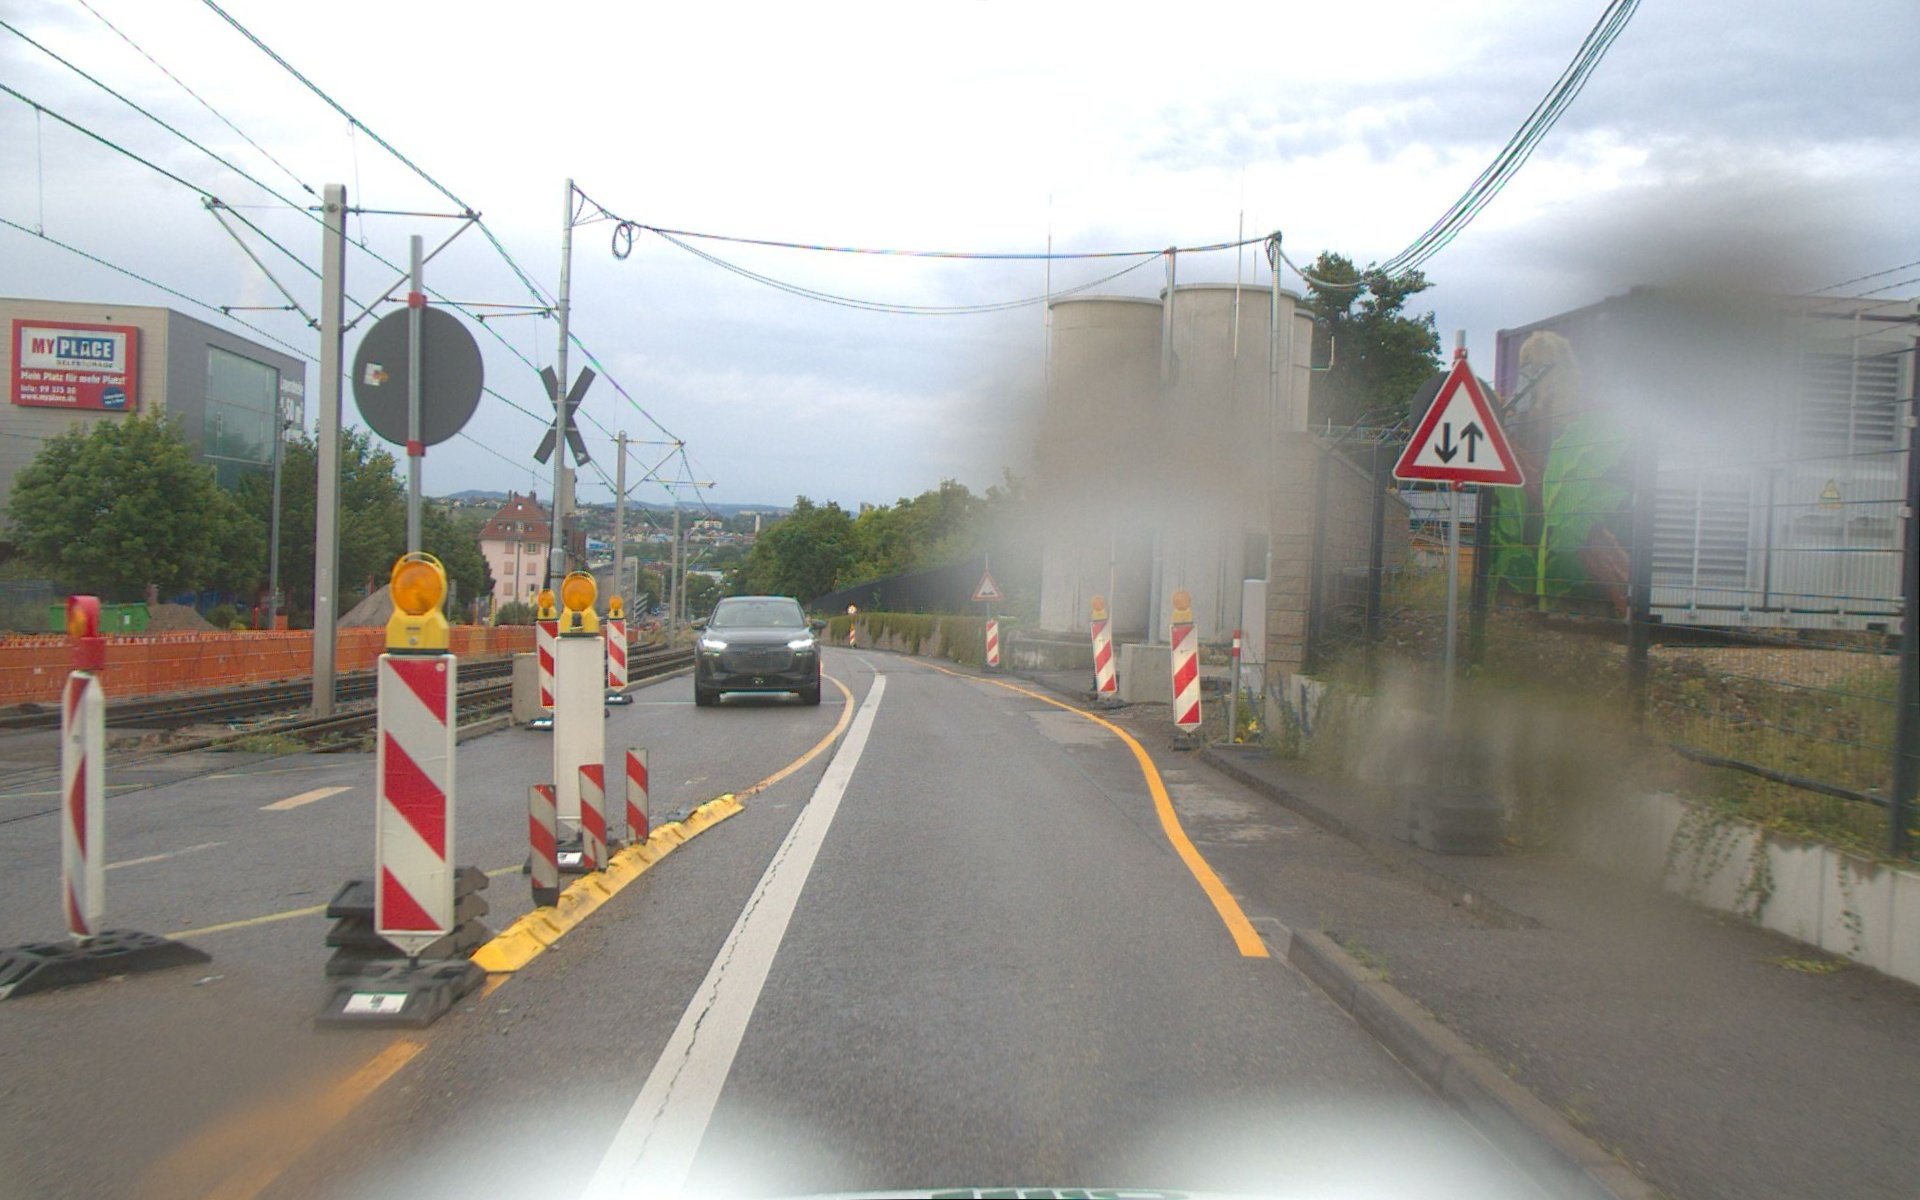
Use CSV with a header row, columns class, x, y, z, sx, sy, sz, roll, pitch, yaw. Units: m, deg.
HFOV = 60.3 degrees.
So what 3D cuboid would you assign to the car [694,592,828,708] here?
class,x,y,z,sx,sy,sz,roll,pitch,yaw
car,-3.172,0.741,26.760,1.955,1.707,4.483,1,0,-6
